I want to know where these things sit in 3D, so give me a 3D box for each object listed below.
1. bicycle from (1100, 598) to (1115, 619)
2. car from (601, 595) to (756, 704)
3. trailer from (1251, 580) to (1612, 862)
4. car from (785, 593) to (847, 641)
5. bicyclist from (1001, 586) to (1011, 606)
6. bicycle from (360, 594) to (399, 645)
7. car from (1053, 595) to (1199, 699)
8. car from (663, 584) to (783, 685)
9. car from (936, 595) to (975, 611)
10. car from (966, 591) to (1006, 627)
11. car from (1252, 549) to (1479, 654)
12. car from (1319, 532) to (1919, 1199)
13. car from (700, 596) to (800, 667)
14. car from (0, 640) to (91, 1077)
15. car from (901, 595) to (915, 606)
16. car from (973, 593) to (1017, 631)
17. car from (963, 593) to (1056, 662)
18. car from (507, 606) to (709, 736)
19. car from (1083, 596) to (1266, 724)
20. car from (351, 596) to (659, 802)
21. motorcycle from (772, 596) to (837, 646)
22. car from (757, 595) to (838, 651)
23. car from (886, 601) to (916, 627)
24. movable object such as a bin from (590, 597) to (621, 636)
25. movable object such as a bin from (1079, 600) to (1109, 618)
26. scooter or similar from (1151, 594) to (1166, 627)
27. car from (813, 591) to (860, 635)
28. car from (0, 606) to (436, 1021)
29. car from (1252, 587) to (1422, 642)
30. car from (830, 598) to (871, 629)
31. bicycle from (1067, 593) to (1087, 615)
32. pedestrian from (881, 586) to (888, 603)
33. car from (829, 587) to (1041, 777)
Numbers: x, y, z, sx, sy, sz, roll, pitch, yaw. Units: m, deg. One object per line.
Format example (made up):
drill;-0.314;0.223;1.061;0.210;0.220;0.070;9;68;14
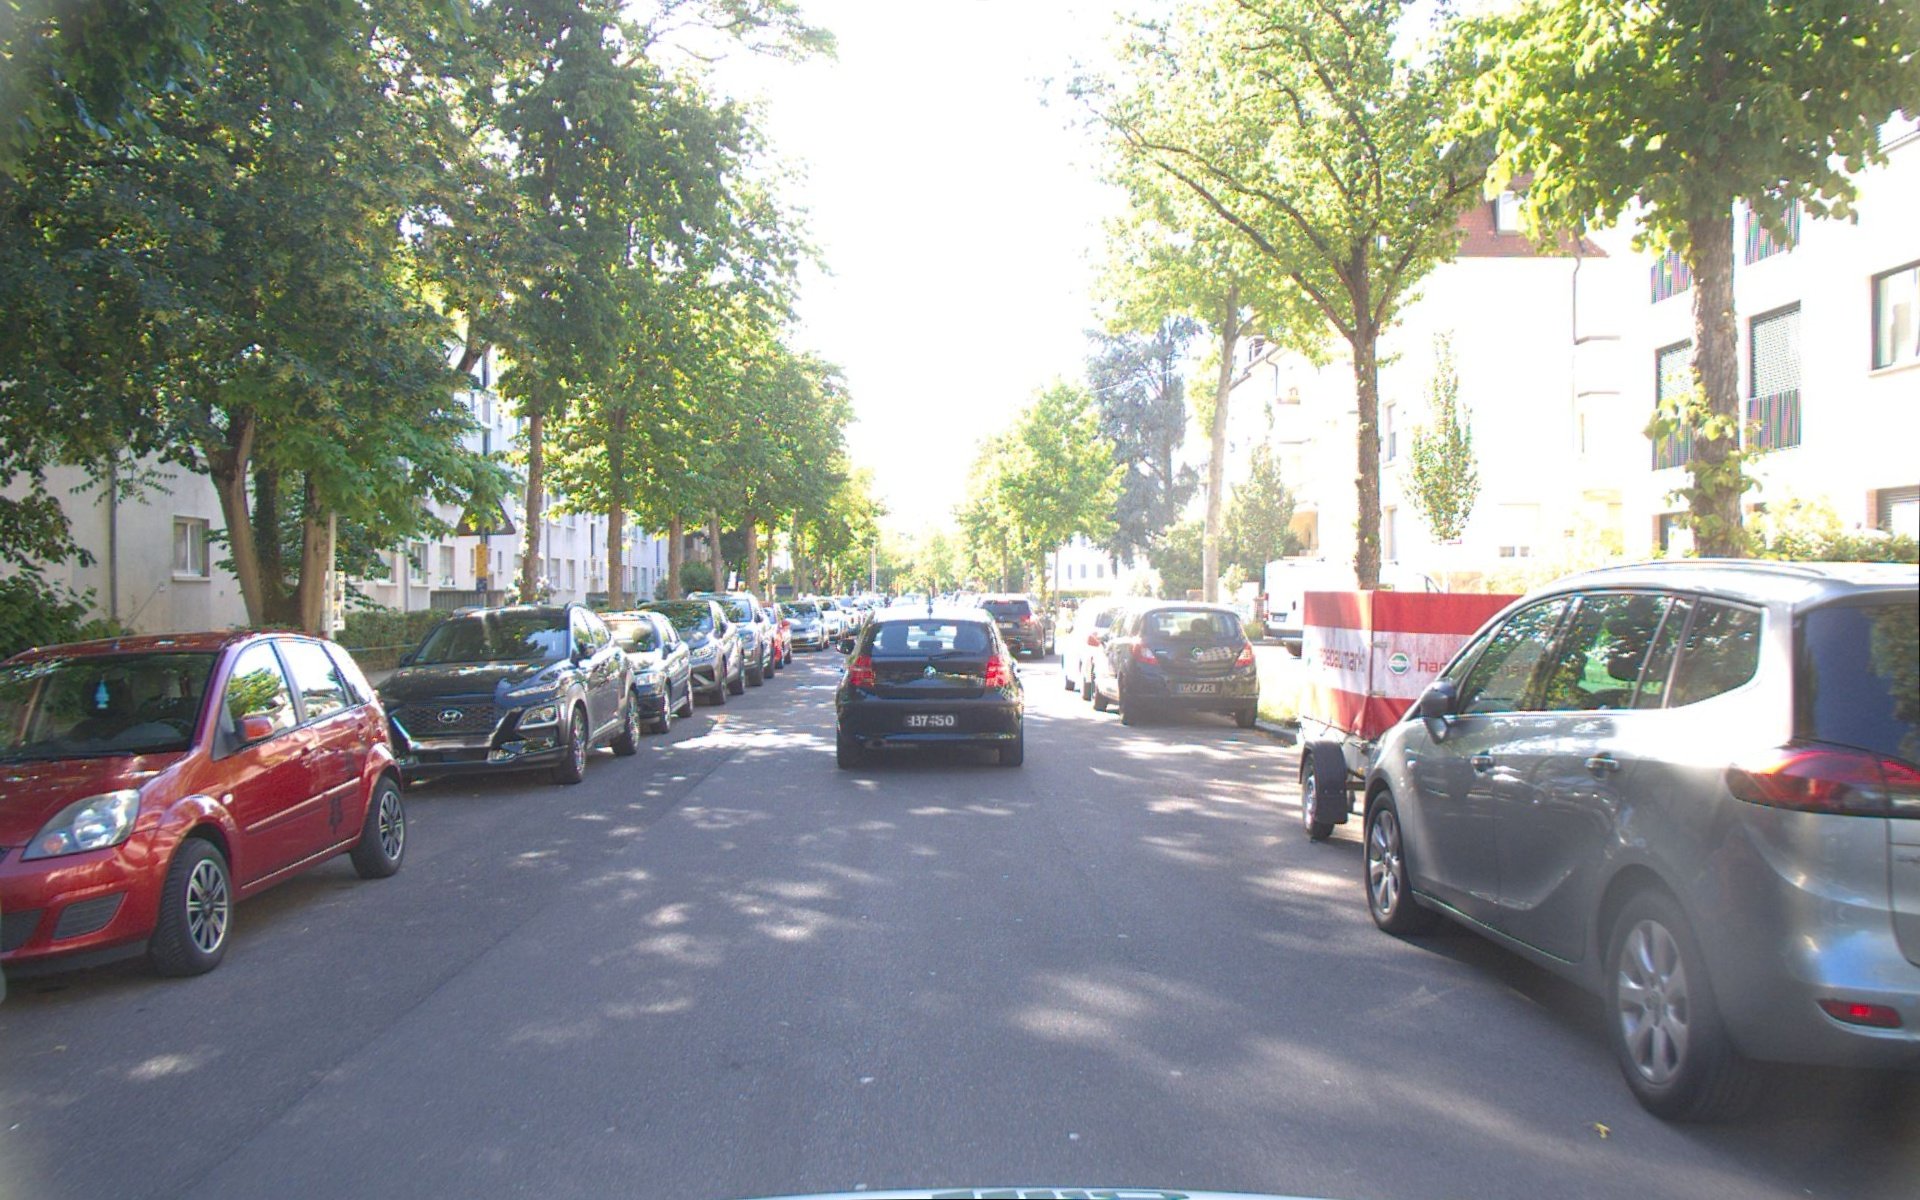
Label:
bicycle;7.463;0.425;83.608;0.569;0.992;1.903;-1;0;0
car;-4.360;0.712;26.269;1.733;1.558;4.419;-1;0;-1
trailer;3.031;0.701;11.246;1.542;1.606;3.192;1;0;0
car;-4.947;0.555;57.053;2.023;1.551;4.717;-1;0;-4
bicyclist;3.782;-0.303;136.053;0.663;1.638;0.921;-1;0;-5
bicycle;-15.148;0.494;43.215;0.390;1.311;1.913;-1;0;-2
car;2.541;0.676;26.113;1.698;1.513;4.007;0;0;-3
car;-4.430;0.599;31.504;1.732;1.717;4.812;-2;0;-2
car;-0.493;0.343;173.524;3.910;1.615;1.725;-1;0;-6
car;1.266;0.439;82.096;1.886;1.680;5.095;1;0;0
car;9.655;0.007;39.338;4.976;2.346;2.217;-1;0;-25
car;2.891;0.684;6.478;1.756;1.672;4.817;1;0;-2
car;-4.731;0.680;37.756;1.818;1.495;4.181;-1;0;-1
car;-3.864;0.873;3.823;1.621;1.397;4.187;-2;0;-3
car;-8.013;0.038;254.489;1.748;1.637;3.995;-1;0;-6
car;1.520;0.516;72.520;1.621;1.559;3.967;2;0;-3
car;1.120;0.637;39.694;1.858;1.551;4.964;0;-1;-3
car;-4.298;0.803;20.840;1.749;1.376;4.479;-2;0;-3
car;2.683;0.701;21.546;1.636;1.476;4.177;1;0;-3
car;-4.087;0.796;15.632;1.671;1.604;4.481;-2;0;-1
motorcycle;-4.998;0.673;53.073;0.981;1.530;2.200;-2;0;-41
car;-4.788;0.637;49.200;2.001;1.551;4.605;-1;0;-1
car;-3.619;0.852;101.345;1.773;1.471;4.364;-2;0;-2
movable object such as a bin;-12.546;0.587;58.532;0.912;1.347;1.377;-1;0;-7
movable object such as a bin;7.075;0.485;87.106;1.196;0.920;1.665;-1;0;19
scooter or similar;7.577;0.401;63.095;0.393;1.205;1.207;-1;1;13
car;-5.096;0.540;68.800;1.694;1.646;4.364;-4;0;-2
car;-4.018;0.833;8.291;1.621;1.531;4.066;-2;0;-3
car;10.738;0.413;47.186;4.617;1.495;1.955;-1;0;13
car;-5.353;0.644;81.022;1.743;1.403;4.261;-3;0;-1
bicycle;7.041;0.242;99.476;0.822;1.279;2.229;0;0;-5
pedestrian;-8.505;-0.606;185.696;0.700;1.933;0.837;-1;0;2
car;-0.291;0.681;15.931;1.747;1.550;3.998;-2;0;-3
